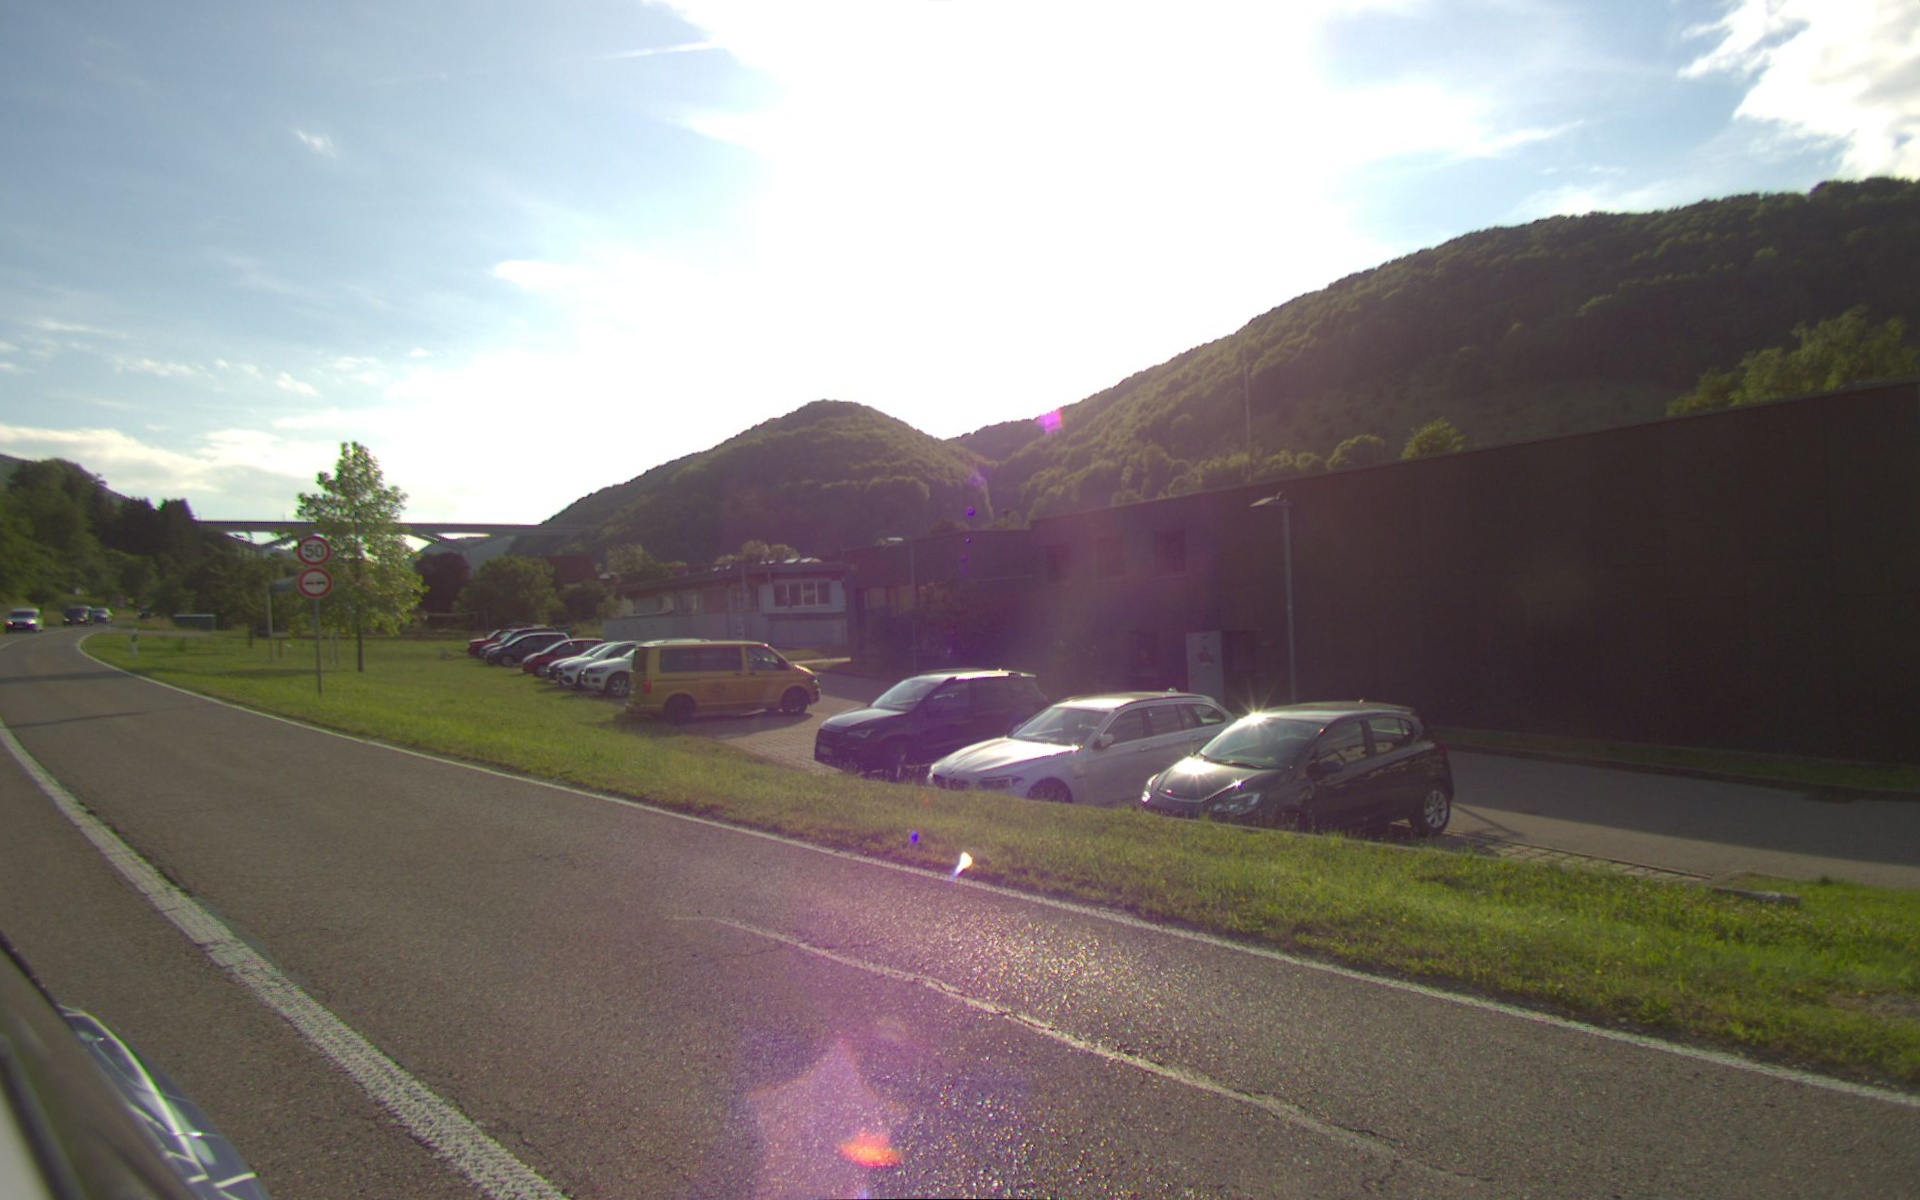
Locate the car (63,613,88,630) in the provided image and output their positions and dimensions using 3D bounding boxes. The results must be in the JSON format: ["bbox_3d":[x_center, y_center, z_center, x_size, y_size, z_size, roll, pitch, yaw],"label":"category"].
[{"bbox_3d":[-86.590,2.116,99.058,1.653,1.659,3.352,0,-1,-38],"label":"car"}]

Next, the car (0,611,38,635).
[{"bbox_3d":[-70.187,1.728,75.428,1.771,1.749,4.292,-1,-1,-37],"label":"car"}]

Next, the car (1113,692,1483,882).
[{"bbox_3d":[3.850,1.940,11.420,3.932,1.546,1.839,0,-2,-31],"label":"car"}]

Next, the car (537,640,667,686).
[{"bbox_3d":[-13.725,2.390,38.841,4.371,1.595,2.006,1,-2,-32],"label":"car"}]

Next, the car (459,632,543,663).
[{"bbox_3d":[-27.308,2.787,60.221,4.371,1.733,2.006,0,-2,-31],"label":"car"}]

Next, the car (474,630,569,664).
[{"bbox_3d":[-24.201,2.549,55.886,4.595,1.776,2.006,0,-2,-31],"label":"car"}]

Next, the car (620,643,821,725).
[{"bbox_3d":[-6.049,2.044,25.682,4.583,1.827,2.006,0,-2,-30],"label":"car"}]

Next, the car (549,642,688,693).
[{"bbox_3d":[-12.099,2.341,35.873,4.370,1.599,2.006,0,-2,-30],"label":"car"}]

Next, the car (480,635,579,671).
[{"bbox_3d":[-21.955,2.670,51.614,4.371,1.595,2.006,-1,-1,-31],"label":"car"}]

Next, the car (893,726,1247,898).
[{"bbox_3d":[1.560,2.664,13.576,4.577,1.508,1.918,1,-2,-34],"label":"car"}]

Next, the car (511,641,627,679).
[{"bbox_3d":[-16.604,2.509,42.990,4.370,1.463,2.006,0,-2,-30],"label":"car"}]

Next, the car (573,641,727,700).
[{"bbox_3d":[-10.076,2.245,33.002,4.477,1.714,2.006,0,-2,-30],"label":"car"}]

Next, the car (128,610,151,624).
[{"bbox_3d":[-109.832,2.261,135.457,1.880,1.918,4.012,0,0,-32],"label":"car"}]

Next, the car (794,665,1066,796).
[{"bbox_3d":[-0.456,2.085,17.178,4.226,1.650,1.917,-2,-1,-35],"label":"car"}]

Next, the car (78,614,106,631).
[{"bbox_3d":[-94.718,2.474,110.487,1.967,1.730,4.009,-1,-1,-36],"label":"car"}]
